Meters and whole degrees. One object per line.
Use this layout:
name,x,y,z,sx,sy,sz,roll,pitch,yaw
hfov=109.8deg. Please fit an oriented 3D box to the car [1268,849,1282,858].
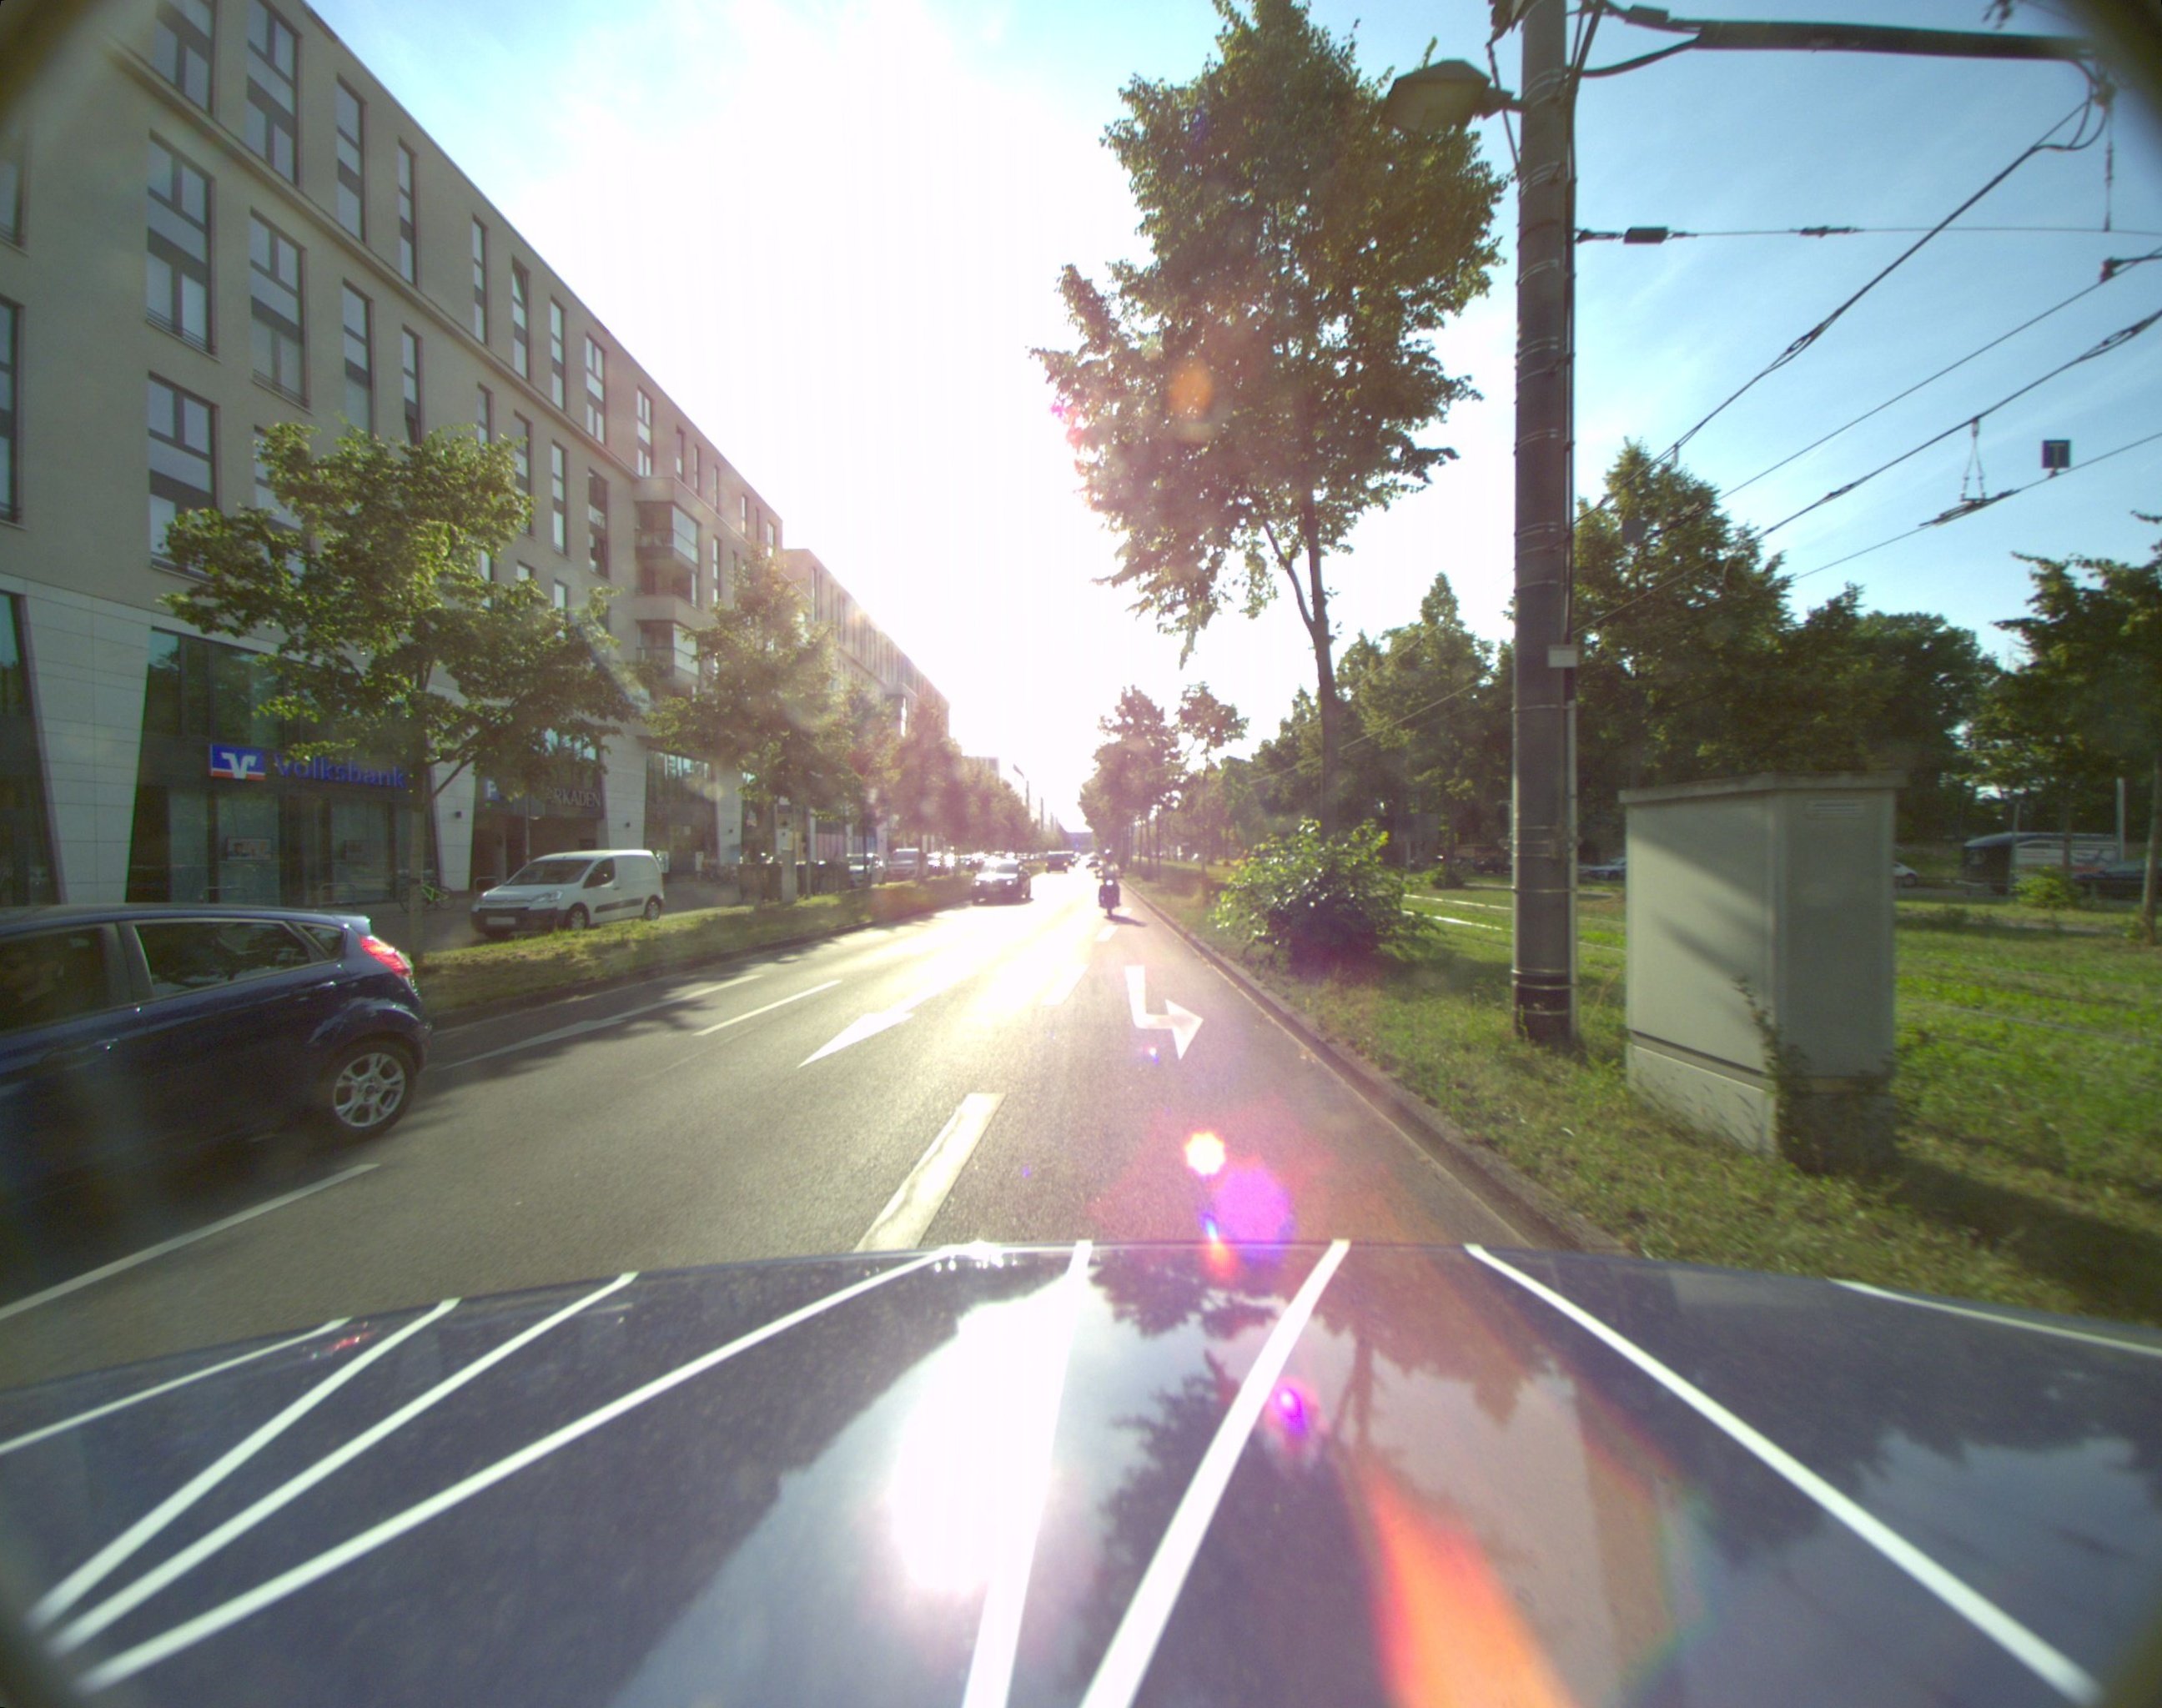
car,30.343,-0.134,118.964,1.586,1.269,3.961,-2,1,7

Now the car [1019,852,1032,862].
car,-9.353,0.509,128.014,1.840,1.521,4.327,-2,1,0

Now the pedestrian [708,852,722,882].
pedestrian,-19.739,0.688,40.993,0.515,1.565,0.539,-3,1,-19

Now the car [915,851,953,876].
car,-10.532,0.666,54.686,1.732,1.641,4.339,-2,1,2

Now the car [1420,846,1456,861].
car,36.327,-0.089,77.526,1.790,1.434,4.361,-2,1,3

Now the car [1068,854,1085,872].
car,-0.587,1.108,93.321,1.909,2.002,3.999,-2,1,1

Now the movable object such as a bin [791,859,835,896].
movable object such as a bin,-10.361,0.887,29.411,1.281,1.310,1.191,-2,1,-2

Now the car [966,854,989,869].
car,-10.419,0.725,76.800,1.733,1.424,4.113,-2,1,0

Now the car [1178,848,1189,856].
car,19.337,-0.440,143.647,1.587,1.385,3.696,-2,1,1

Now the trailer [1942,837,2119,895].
trailer,36.554,0.436,29.341,4.374,2.042,1.758,-2,1,4

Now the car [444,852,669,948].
car,-11.016,0.862,16.424,1.832,1.702,4.295,-2,1,0

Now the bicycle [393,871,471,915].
bicycle,-18.175,1.068,21.334,0.493,1.110,1.945,0,1,1

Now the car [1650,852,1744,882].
car,36.773,0.761,45.442,3.996,1.551,1.856,-2,1,3

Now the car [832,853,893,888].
car,-10.763,0.754,37.778,1.735,1.620,4.849,0,0,-2

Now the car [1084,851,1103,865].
car,1.306,0.405,80.476,1.756,1.427,4.034,-2,1,-2

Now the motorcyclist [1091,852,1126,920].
motorcyclist,0.704,0.815,19.848,0.814,1.700,0.843,-2,1,0

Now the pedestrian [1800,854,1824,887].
pedestrian,34.070,0.762,35.422,0.523,1.472,0.568,-2,1,0

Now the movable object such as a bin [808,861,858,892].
movable object such as a bin,-10.535,0.970,32.296,1.399,1.229,1.338,-2,1,28

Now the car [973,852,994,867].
car,-10.587,0.566,82.707,1.873,1.483,4.413,-2,1,-4

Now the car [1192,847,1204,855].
car,22.168,-0.590,144.173,1.686,1.467,4.812,2,1,1

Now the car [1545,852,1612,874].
car,37.886,0.704,57.914,3.865,1.477,1.744,-2,1,8

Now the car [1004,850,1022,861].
car,-9.887,0.176,111.098,1.764,1.479,4.919,-2,1,4

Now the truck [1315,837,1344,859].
truck,42.139,-1.022,129.177,2.895,3.496,7.946,-2,1,5

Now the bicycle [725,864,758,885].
bicycle,-18.086,1.093,40.493,0.347,1.068,1.516,-1,2,42

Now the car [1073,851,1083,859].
car,-0.645,0.141,159.342,1.840,1.521,4.327,-2,1,0

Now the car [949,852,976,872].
car,-9.471,0.609,60.902,1.620,1.404,4.166,-2,1,-2

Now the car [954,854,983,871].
car,-10.274,0.764,69.693,1.732,1.424,4.721,-2,1,2

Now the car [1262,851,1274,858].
car,31.852,0.059,129.698,1.301,1.101,3.772,-2,1,3

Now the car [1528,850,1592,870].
car,37.952,0.471,60.288,3.865,1.477,1.744,-2,1,8

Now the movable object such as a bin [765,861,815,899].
movable object such as a bin,-10.189,0.913,26.672,1.281,1.229,1.191,-2,1,-2

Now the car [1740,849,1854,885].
car,36.059,0.643,38.330,4.002,1.633,1.757,-2,1,1

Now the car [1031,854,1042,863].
car,-9.158,0.908,155.962,1.840,1.521,4.327,-2,1,0

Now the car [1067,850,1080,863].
car,-1.169,0.382,120.922,1.998,2.002,3.999,-2,1,1

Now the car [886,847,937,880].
car,-10.614,0.554,47.880,1.842,1.865,5.031,-2,1,2

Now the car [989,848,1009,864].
car,-10.121,0.244,94.170,1.899,1.863,4.843,-2,1,0

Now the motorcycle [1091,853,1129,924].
motorcycle,0.716,0.830,19.626,0.798,1.659,2.633,-2,1,0

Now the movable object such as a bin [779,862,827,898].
movable object such as a bin,-10.207,0.932,27.931,1.281,1.229,1.191,-2,1,-2

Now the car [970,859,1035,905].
car,-2.851,0.985,28.281,1.698,1.416,4.040,-2,1,4

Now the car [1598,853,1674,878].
car,36.858,0.748,50.493,3.655,1.420,1.809,-2,1,3

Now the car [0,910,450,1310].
car,-5.017,1.100,2.992,1.563,1.416,3.908,-2,0,4

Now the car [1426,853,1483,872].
car,30.760,0.665,62.732,1.689,1.427,4.027,-3,1,-25

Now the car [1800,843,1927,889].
car,36.046,0.529,35.061,4.002,1.936,1.757,-2,1,1

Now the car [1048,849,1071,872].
car,-1.914,0.582,68.455,1.803,1.881,4.820,-2,1,1

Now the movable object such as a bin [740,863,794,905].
movable object such as a bin,-10.499,0.983,25.432,1.281,1.284,1.178,-2,1,-2

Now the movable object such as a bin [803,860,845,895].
movable object such as a bin,-10.399,0.945,30.759,1.281,1.294,1.191,-2,1,-2

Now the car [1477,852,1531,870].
car,36.892,0.550,66.372,1.792,1.434,4.357,-2,1,-10

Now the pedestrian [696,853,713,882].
pedestrian,-20.321,0.727,40.994,0.515,1.513,0.597,-2,1,0

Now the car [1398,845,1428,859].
car,36.475,-0.255,83.552,1.722,1.434,3.912,-2,1,3

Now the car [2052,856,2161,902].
car,35.853,0.829,25.481,1.684,1.385,3.760,-2,1,-2
